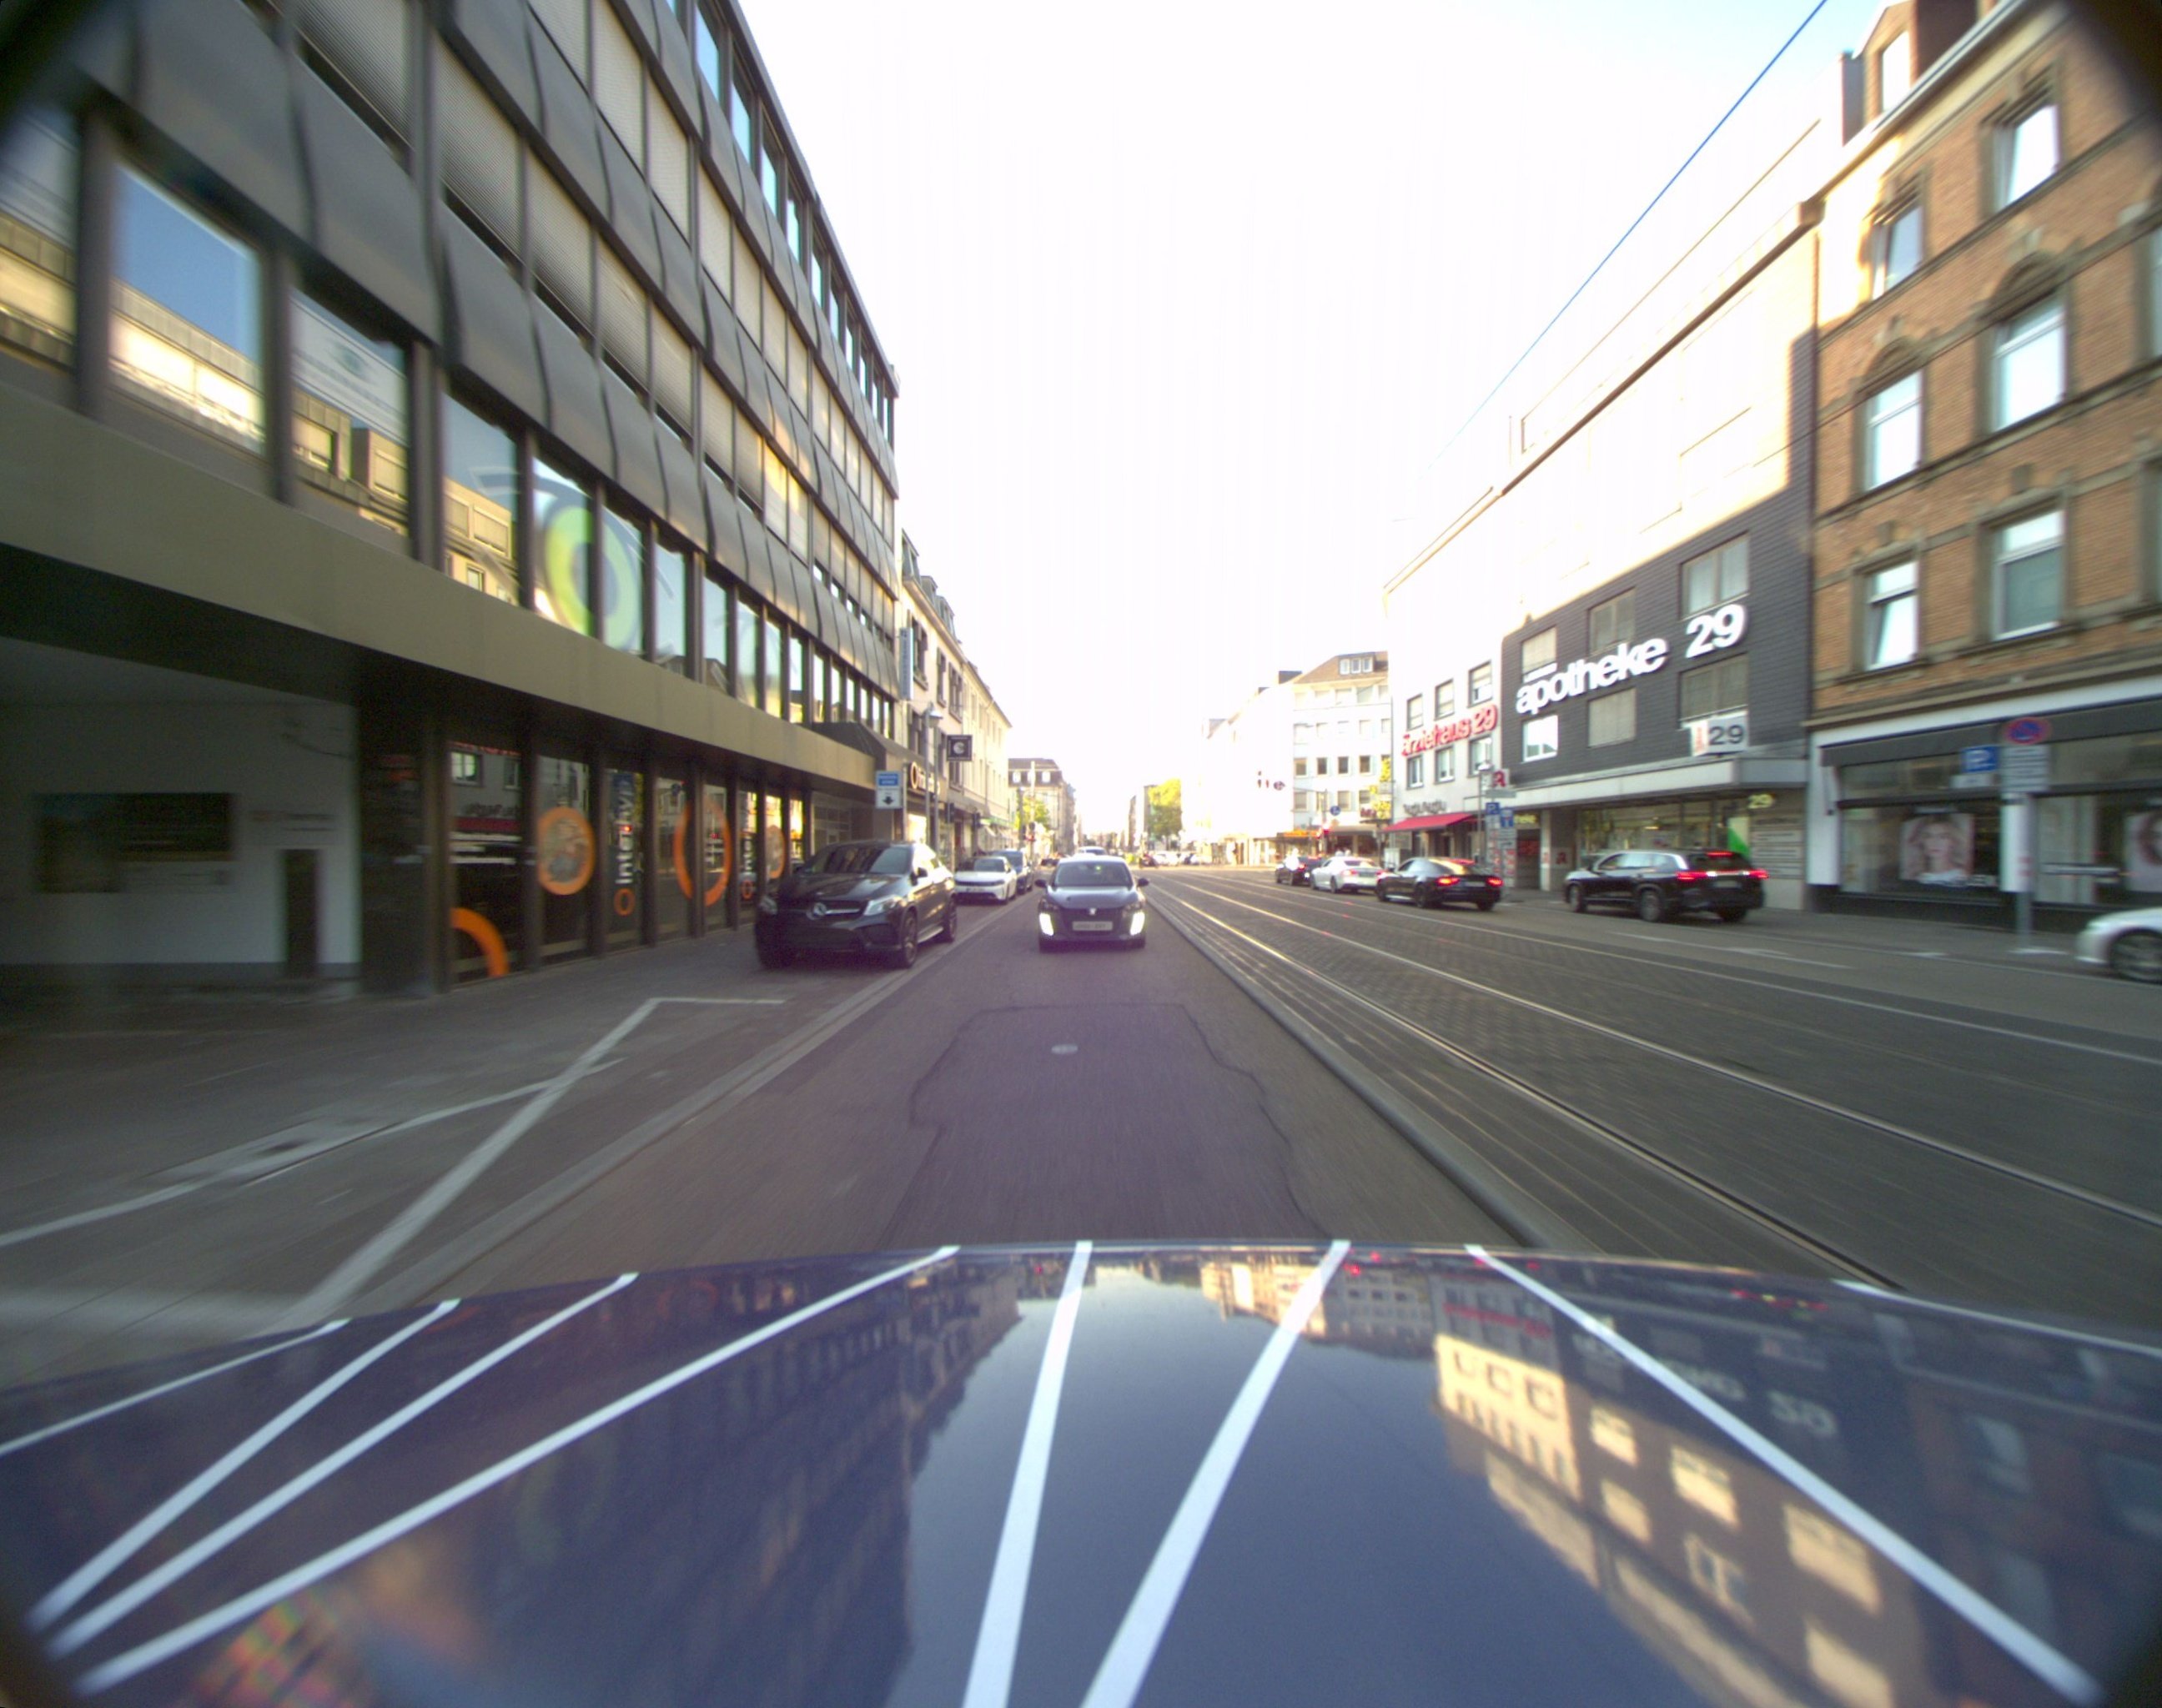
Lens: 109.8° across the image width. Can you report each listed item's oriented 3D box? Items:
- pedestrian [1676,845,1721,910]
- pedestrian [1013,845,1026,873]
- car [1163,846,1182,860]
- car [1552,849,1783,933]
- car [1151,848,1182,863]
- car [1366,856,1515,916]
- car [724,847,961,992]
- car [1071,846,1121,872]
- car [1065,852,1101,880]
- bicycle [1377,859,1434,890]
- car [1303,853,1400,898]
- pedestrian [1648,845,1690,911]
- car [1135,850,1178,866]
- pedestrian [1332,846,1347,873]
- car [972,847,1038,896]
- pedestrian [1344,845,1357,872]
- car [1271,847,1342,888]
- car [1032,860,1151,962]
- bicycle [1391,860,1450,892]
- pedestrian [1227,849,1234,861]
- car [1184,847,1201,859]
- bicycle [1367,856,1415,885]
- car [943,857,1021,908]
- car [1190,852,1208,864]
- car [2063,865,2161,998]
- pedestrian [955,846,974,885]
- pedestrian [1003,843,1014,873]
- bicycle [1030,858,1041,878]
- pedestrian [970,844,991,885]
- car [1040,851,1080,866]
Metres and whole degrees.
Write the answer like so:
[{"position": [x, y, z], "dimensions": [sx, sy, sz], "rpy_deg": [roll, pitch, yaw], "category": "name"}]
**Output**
[{"position": [16.181, 0.607, 19.922], "dimensions": [0.684, 1.651, 0.624], "rpy_deg": [-1, 0, 1], "category": "pedestrian"}, {"position": [-4.012, 0.336, 49.634], "dimensions": [0.739, 1.818, 0.850], "rpy_deg": [1, 1, -1], "category": "pedestrian"}, {"position": [11.607, -0.160, 96.670], "dimensions": [1.827, 1.688, 4.259], "rpy_deg": [0, 0, 0], "category": "car"}, {"position": [13.247, 0.739, 17.626], "dimensions": [1.935, 1.665, 4.647], "rpy_deg": [-1, 0, 3], "category": "car"}, {"position": [8.852, 0.107, 78.251], "dimensions": [1.715, 1.463, 3.993], "rpy_deg": [1, 1, 30], "category": "car"}, {"position": [9.946, 0.806, 21.494], "dimensions": [1.998, 1.444, 4.648], "rpy_deg": [1, 1, 0], "category": "car"}, {"position": [-3.203, 0.764, 11.336], "dimensions": [1.998, 1.717, 4.565], "rpy_deg": [0, 1, 1], "category": "car"}, {"position": [1.013, 0.315, 54.213], "dimensions": [1.831, 1.787, 4.275], "rpy_deg": [-1, 0, -26], "category": "car"}, {"position": [0.112, 0.616, 41.316], "dimensions": [1.827, 1.463, 3.984], "rpy_deg": [0, 0, 0], "category": "car"}, {"position": [13.818, 0.863, 32.385], "dimensions": [2.117, 1.217, 0.553], "rpy_deg": [-2, 1, 1], "category": "bicycle"}, {"position": [10.245, 0.762, 29.197], "dimensions": [1.999, 1.444, 4.655], "rpy_deg": [2, 1, -1], "category": "car"}, {"position": [15.477, 0.627, 20.003], "dimensions": [0.622, 1.689, 0.602], "rpy_deg": [-1, 0, 1], "category": "pedestrian"}, {"position": [6.674, 0.347, 67.309], "dimensions": [3.490, 1.326, 1.597], "rpy_deg": [0, 1, -7], "category": "car"}, {"position": [17.107, 0.371, 50.303], "dimensions": [0.638, 1.734, 0.668], "rpy_deg": [-1, 1, -12], "category": "pedestrian"}, {"position": [-2.891, 0.616, 29.856], "dimensions": [1.998, 1.717, 4.576], "rpy_deg": [1, 1, 1], "category": "car"}, {"position": [17.920, 0.280, 50.502], "dimensions": [0.638, 1.768, 0.600], "rpy_deg": [-1, 1, -7], "category": "pedestrian"}, {"position": [10.352, 0.571, 35.272], "dimensions": [1.998, 1.717, 4.728], "rpy_deg": [2, 1, 2], "category": "car"}, {"position": [0.170, 0.859, 13.182], "dimensions": [1.751, 1.434, 3.905], "rpy_deg": [-1, 0, 0], "category": "car"}, {"position": [13.773, 0.890, 30.831], "dimensions": [2.117, 1.217, 0.553], "rpy_deg": [-2, 1, 1], "category": "bicycle"}, {"position": [17.554, 0.125, 89.291], "dimensions": [0.544, 1.463, 0.624], "rpy_deg": [-4, 1, -15], "category": "pedestrian"}, {"position": [13.872, -0.133, 94.779], "dimensions": [1.636, 1.345, 3.389], "rpy_deg": [-3, 0, 1], "category": "car"}, {"position": [13.848, 0.724, 33.959], "dimensions": [1.895, 1.204, 0.553], "rpy_deg": [-2, 1, 1], "category": "bicycle"}, {"position": [-2.995, 0.825, 23.734], "dimensions": [1.800, 1.424, 3.887], "rpy_deg": [0, 0, 1], "category": "car"}, {"position": [14.043, 0.492, 90.257], "dimensions": [1.636, 1.246, 3.389], "rpy_deg": [-3, 0, 1], "category": "car"}, {"position": [13.295, 0.902, 7.227], "dimensions": [1.873, 1.444, 4.608], "rpy_deg": [-2, 1, -2], "category": "car"}, {"position": [-5.210, 0.498, 34.003], "dimensions": [0.651, 1.708, 0.678], "rpy_deg": [2, 1, 2], "category": "pedestrian"}, {"position": [-4.730, 0.271, 49.658], "dimensions": [0.663, 1.917, 0.879], "rpy_deg": [1, 1, -1], "category": "pedestrian"}, {"position": [-2.587, 0.785, 43.129], "dimensions": [0.535, 1.140, 1.490], "rpy_deg": [0, 1, -1], "category": "bicycle"}, {"position": [-4.549, 0.458, 34.466], "dimensions": [0.768, 1.795, 0.928], "rpy_deg": [1, 1, 3], "category": "pedestrian"}, {"position": [-1.960, 0.400, 70.305], "dimensions": [3.490, 1.326, 1.597], "rpy_deg": [0, 1, -7], "category": "car"}]
